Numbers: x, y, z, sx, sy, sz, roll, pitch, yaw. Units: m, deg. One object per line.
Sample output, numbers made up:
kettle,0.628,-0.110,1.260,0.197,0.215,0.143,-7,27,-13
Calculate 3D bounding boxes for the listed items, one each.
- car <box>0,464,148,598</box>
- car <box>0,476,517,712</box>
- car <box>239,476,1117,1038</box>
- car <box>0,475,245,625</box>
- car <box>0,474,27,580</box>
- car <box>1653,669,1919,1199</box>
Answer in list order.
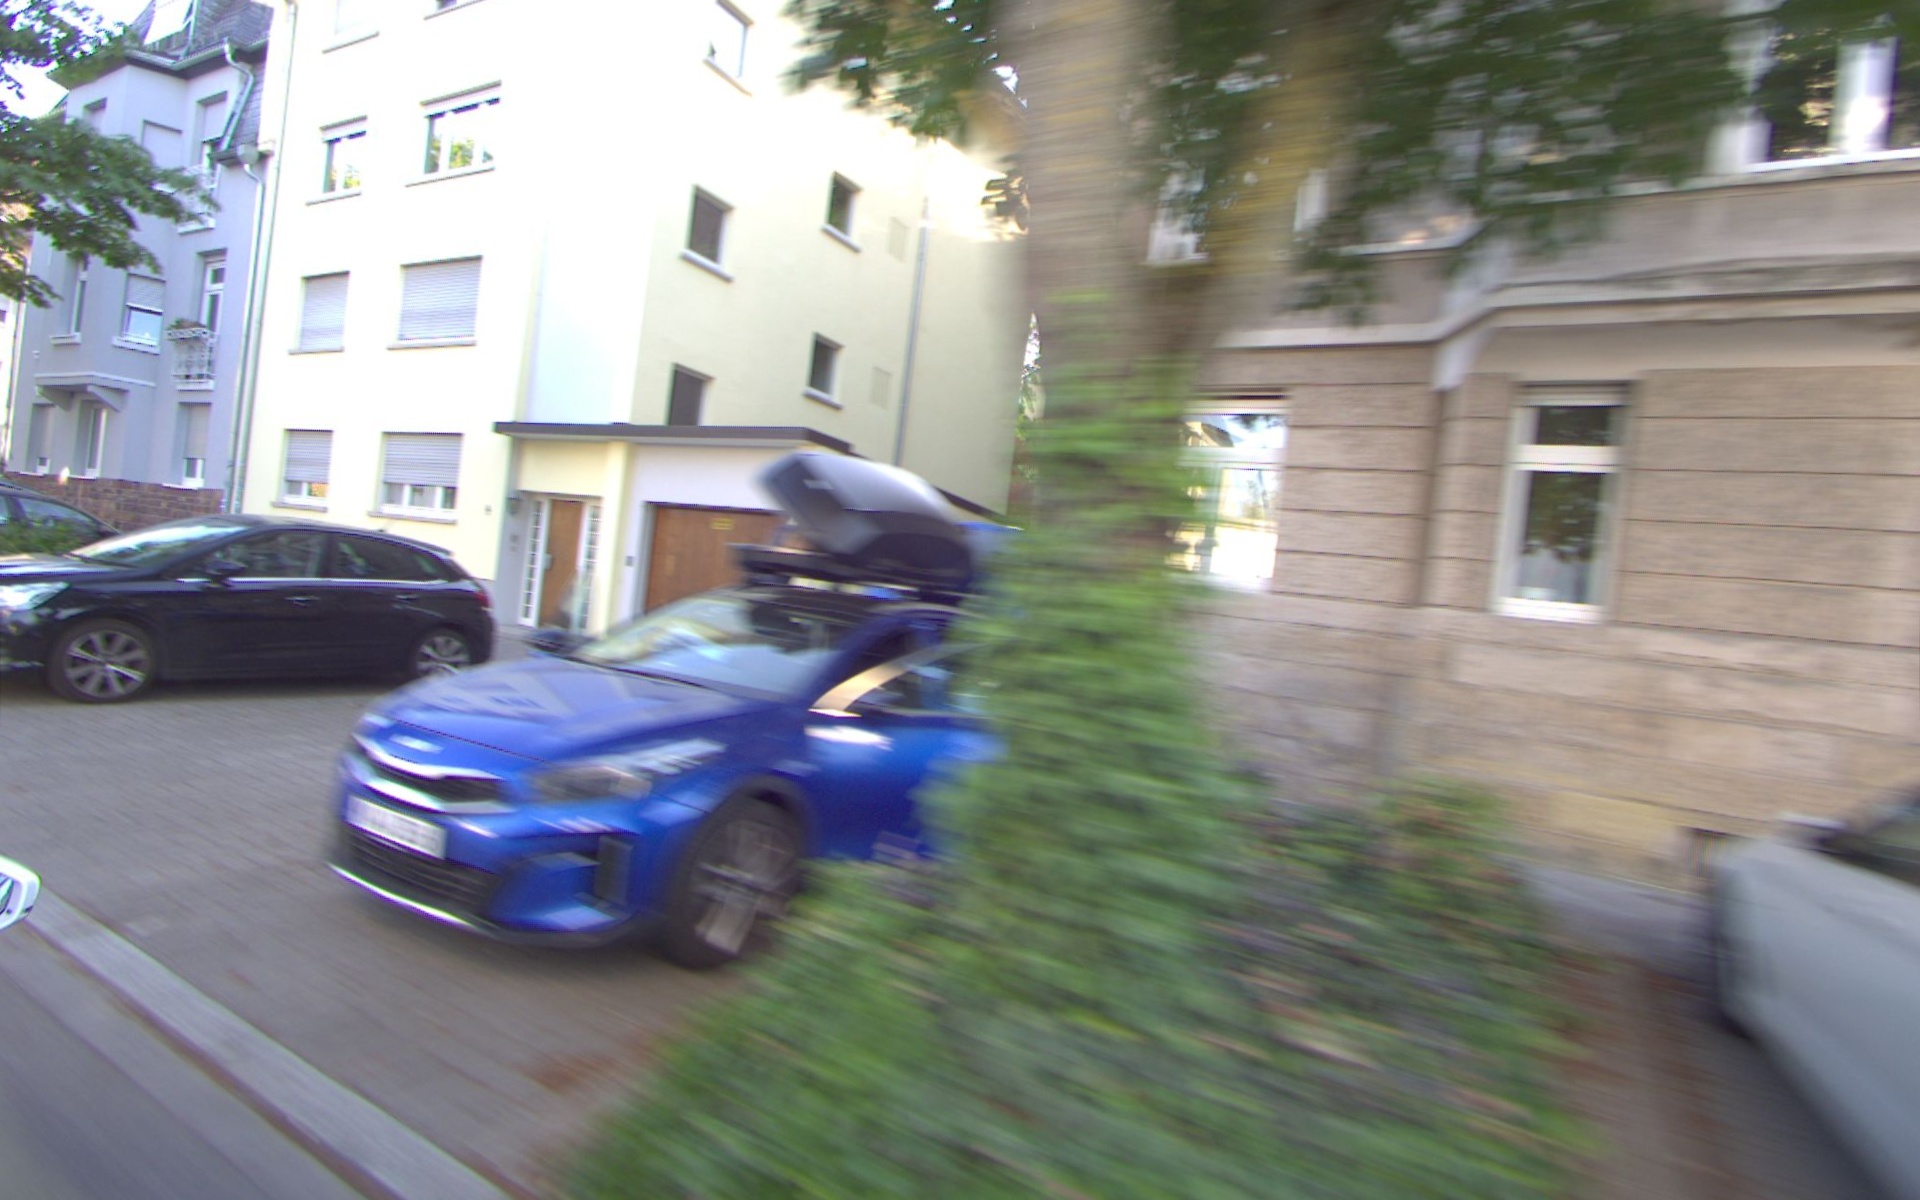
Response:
car,-13.495,-1.049,13.526,1.696,1.674,3.552,7,0,30
car,-6.332,-0.018,8.703,1.842,1.577,4.196,7,0,30
car,-0.896,0.566,5.515,1.842,1.661,4.533,7,0,30
car,-11.290,-0.672,12.124,1.697,1.577,3.928,8,1,33
car,-16.007,-1.290,14.219,1.696,1.577,3.736,7,0,30
car,3.513,1.147,2.608,1.919,1.545,4.485,8,1,25
